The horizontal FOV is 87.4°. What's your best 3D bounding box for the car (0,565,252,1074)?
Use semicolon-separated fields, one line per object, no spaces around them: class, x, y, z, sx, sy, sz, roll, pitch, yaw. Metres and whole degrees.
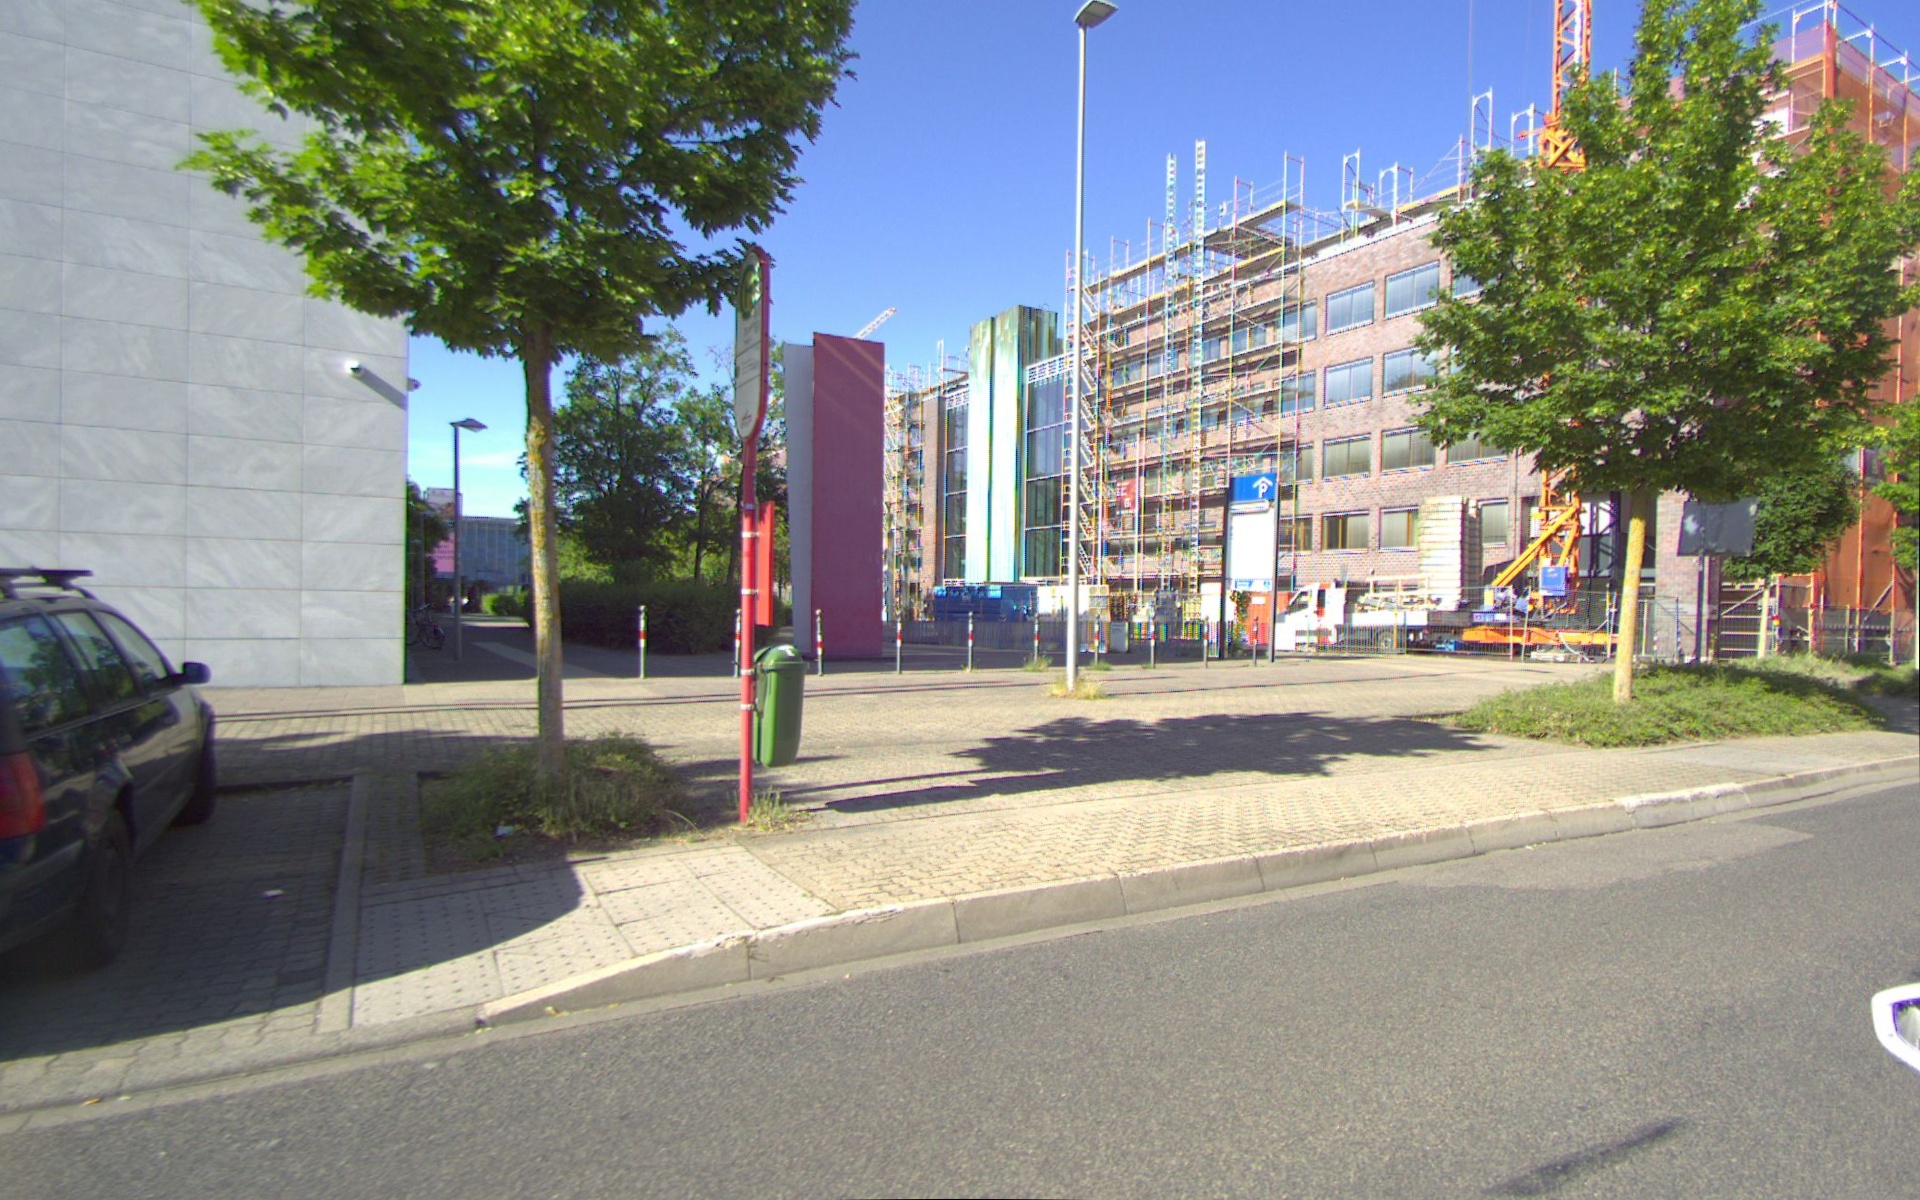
car;-4.537;0.619;4.476;1.847;1.513;4.110;0;2;-30

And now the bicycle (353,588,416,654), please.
bicycle;-14.316;0.488;24.909;0.866;1.533;3.957;0;0;-37

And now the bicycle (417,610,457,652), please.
bicycle;-12.745;0.733;24.457;0.731;0.947;2.235;1;0;-31

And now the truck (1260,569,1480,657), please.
truck;13.129;0.397;32.851;2.251;2.581;6.830;0;0;-28

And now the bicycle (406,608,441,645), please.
bicycle;-14.501;0.687;27.120;0.731;0.947;2.235;0;0;-31
